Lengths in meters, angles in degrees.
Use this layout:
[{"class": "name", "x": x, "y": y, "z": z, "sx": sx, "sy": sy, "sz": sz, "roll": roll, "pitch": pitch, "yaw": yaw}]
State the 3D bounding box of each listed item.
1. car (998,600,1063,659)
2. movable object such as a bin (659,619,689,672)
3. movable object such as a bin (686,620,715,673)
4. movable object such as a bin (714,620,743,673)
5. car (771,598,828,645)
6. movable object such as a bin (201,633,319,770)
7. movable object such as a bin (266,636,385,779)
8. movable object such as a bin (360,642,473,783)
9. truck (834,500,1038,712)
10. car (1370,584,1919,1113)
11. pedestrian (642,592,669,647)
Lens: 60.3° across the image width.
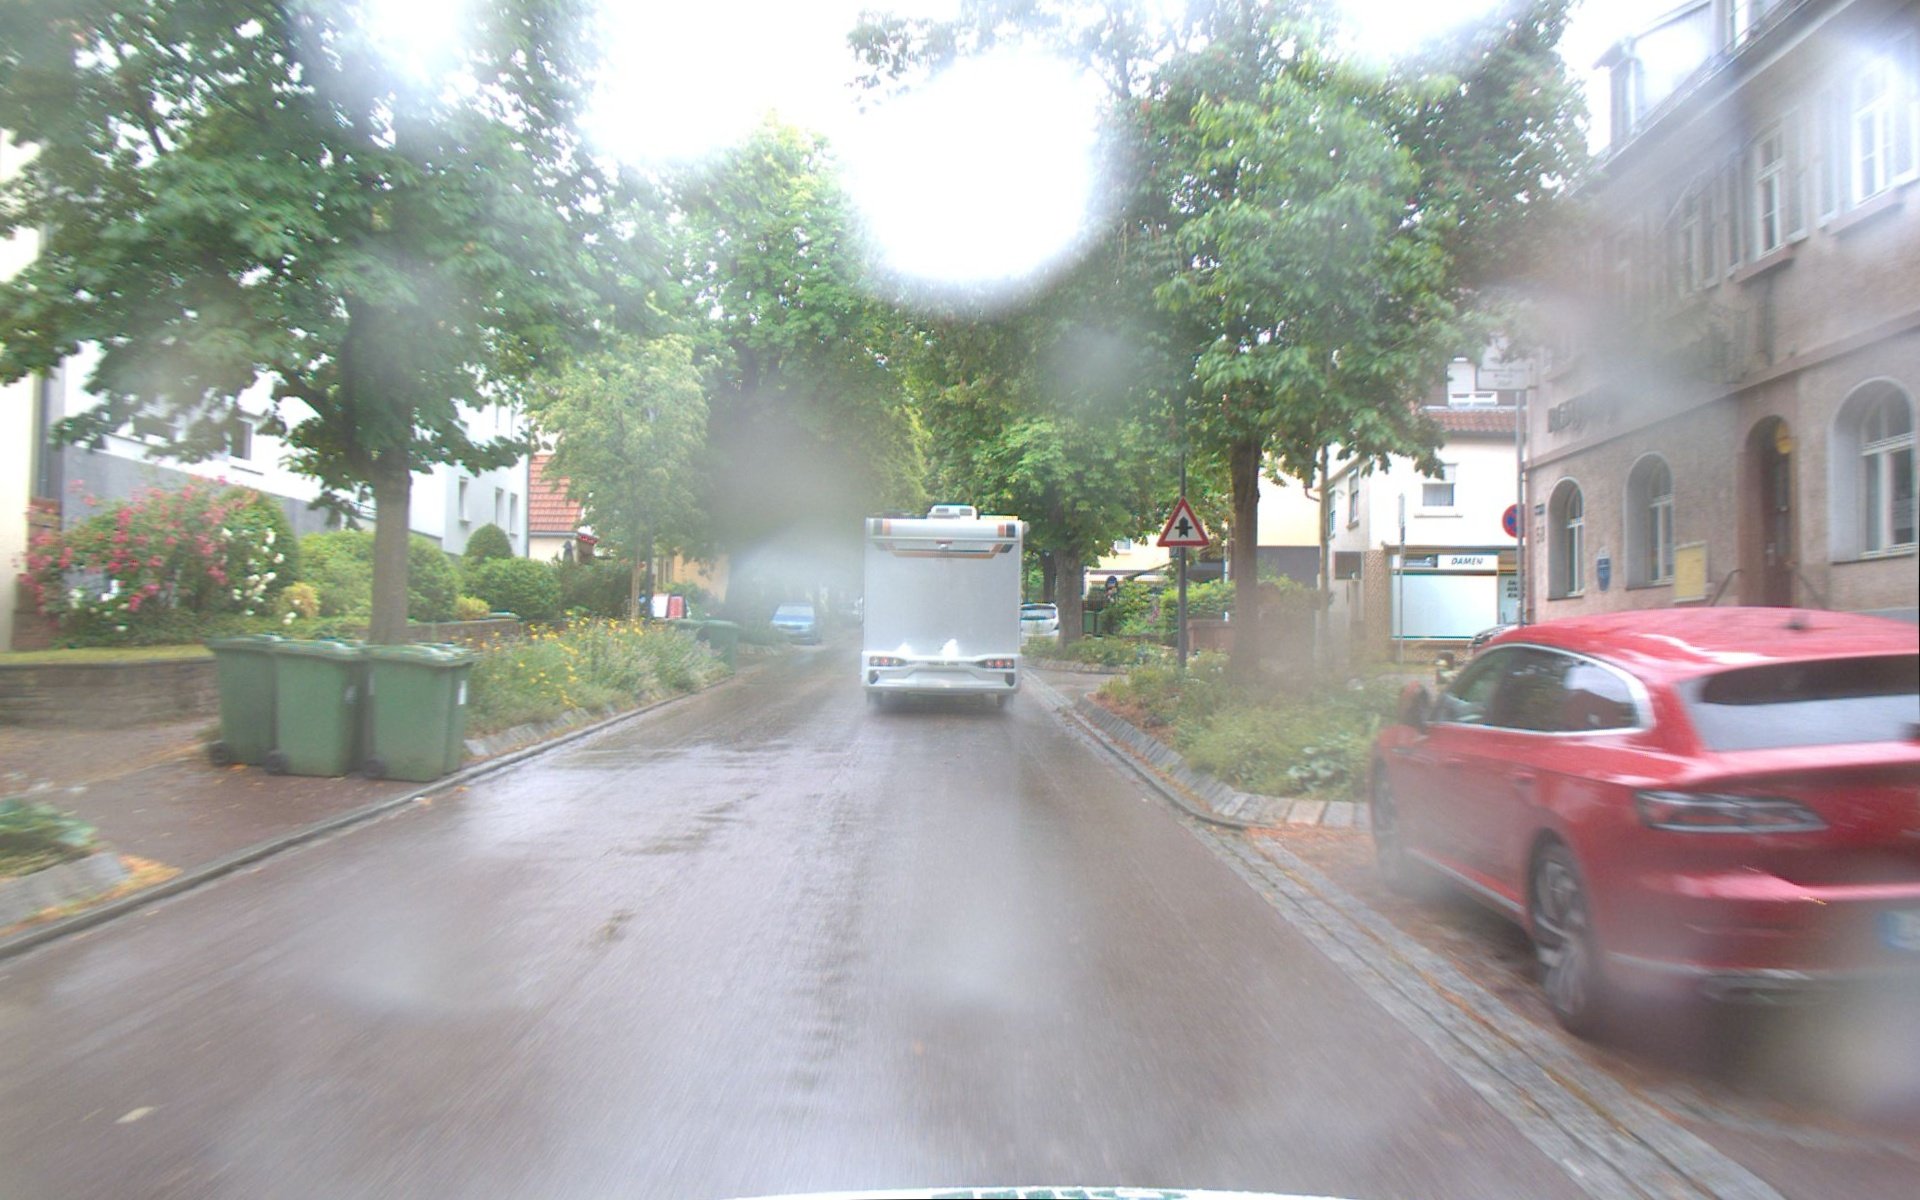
[{"class": "car", "x": 1.966, "y": 0.839, "z": 46.848, "sx": 1.615, "sy": 1.569, "sz": 3.529, "roll": -1, "pitch": -1, "yaw": -1}, {"class": "movable object such as a bin", "x": -5.887, "y": 0.928, "z": 34.049, "sx": 0.517, "sy": 1.077, "sz": 0.562, "roll": -1, "pitch": -1, "yaw": -1}, {"class": "movable object such as a bin", "x": -5.339, "y": 0.949, "z": 34.066, "sx": 0.517, "sy": 1.077, "sz": 0.562, "roll": -1, "pitch": -1, "yaw": -1}, {"class": "movable object such as a bin", "x": -4.768, "y": 0.961, "z": 34.093, "sx": 0.517, "sy": 1.077, "sz": 0.562, "roll": -1, "pitch": -1, "yaw": -1}, {"class": "car", "x": -5.766, "y": 0.781, "z": 58.932, "sx": 1.765, "sy": 1.579, "sz": 3.991, "roll": 0, "pitch": -1, "yaw": -9}, {"class": "movable object such as a bin", "x": -5.931, "y": 0.844, "z": 14.055, "sx": 0.656, "sy": 1.124, "sz": 0.817, "roll": 0, "pitch": -1, "yaw": -2}, {"class": "movable object such as a bin", "x": -5.147, "y": 0.860, "z": 13.462, "sx": 0.656, "sy": 1.124, "sz": 0.817, "roll": 0, "pitch": -1, "yaw": -2}, {"class": "movable object such as a bin", "x": -4.441, "y": 0.904, "z": 13.558, "sx": 0.656, "sy": 1.114, "sz": 0.817, "roll": 0, "pitch": -1, "yaw": -2}, {"class": "truck", "x": -0.410, "y": 0.132, "z": 25.495, "sx": 2.749, "sy": 2.846, "sz": 6.104, "roll": -1, "pitch": -1, "yaw": -2}, {"class": "car", "x": 3.102, "y": 0.717, "z": 7.009, "sx": 1.816, "sy": 1.498, "sz": 4.367, "roll": -2, "pitch": 0, "yaw": 3}, {"class": "pedestrian", "x": -10.456, "y": 0.662, "z": 56.850, "sx": 0.800, "sy": 1.876, "sz": 0.769, "roll": -1, "pitch": -1, "yaw": -2}]
